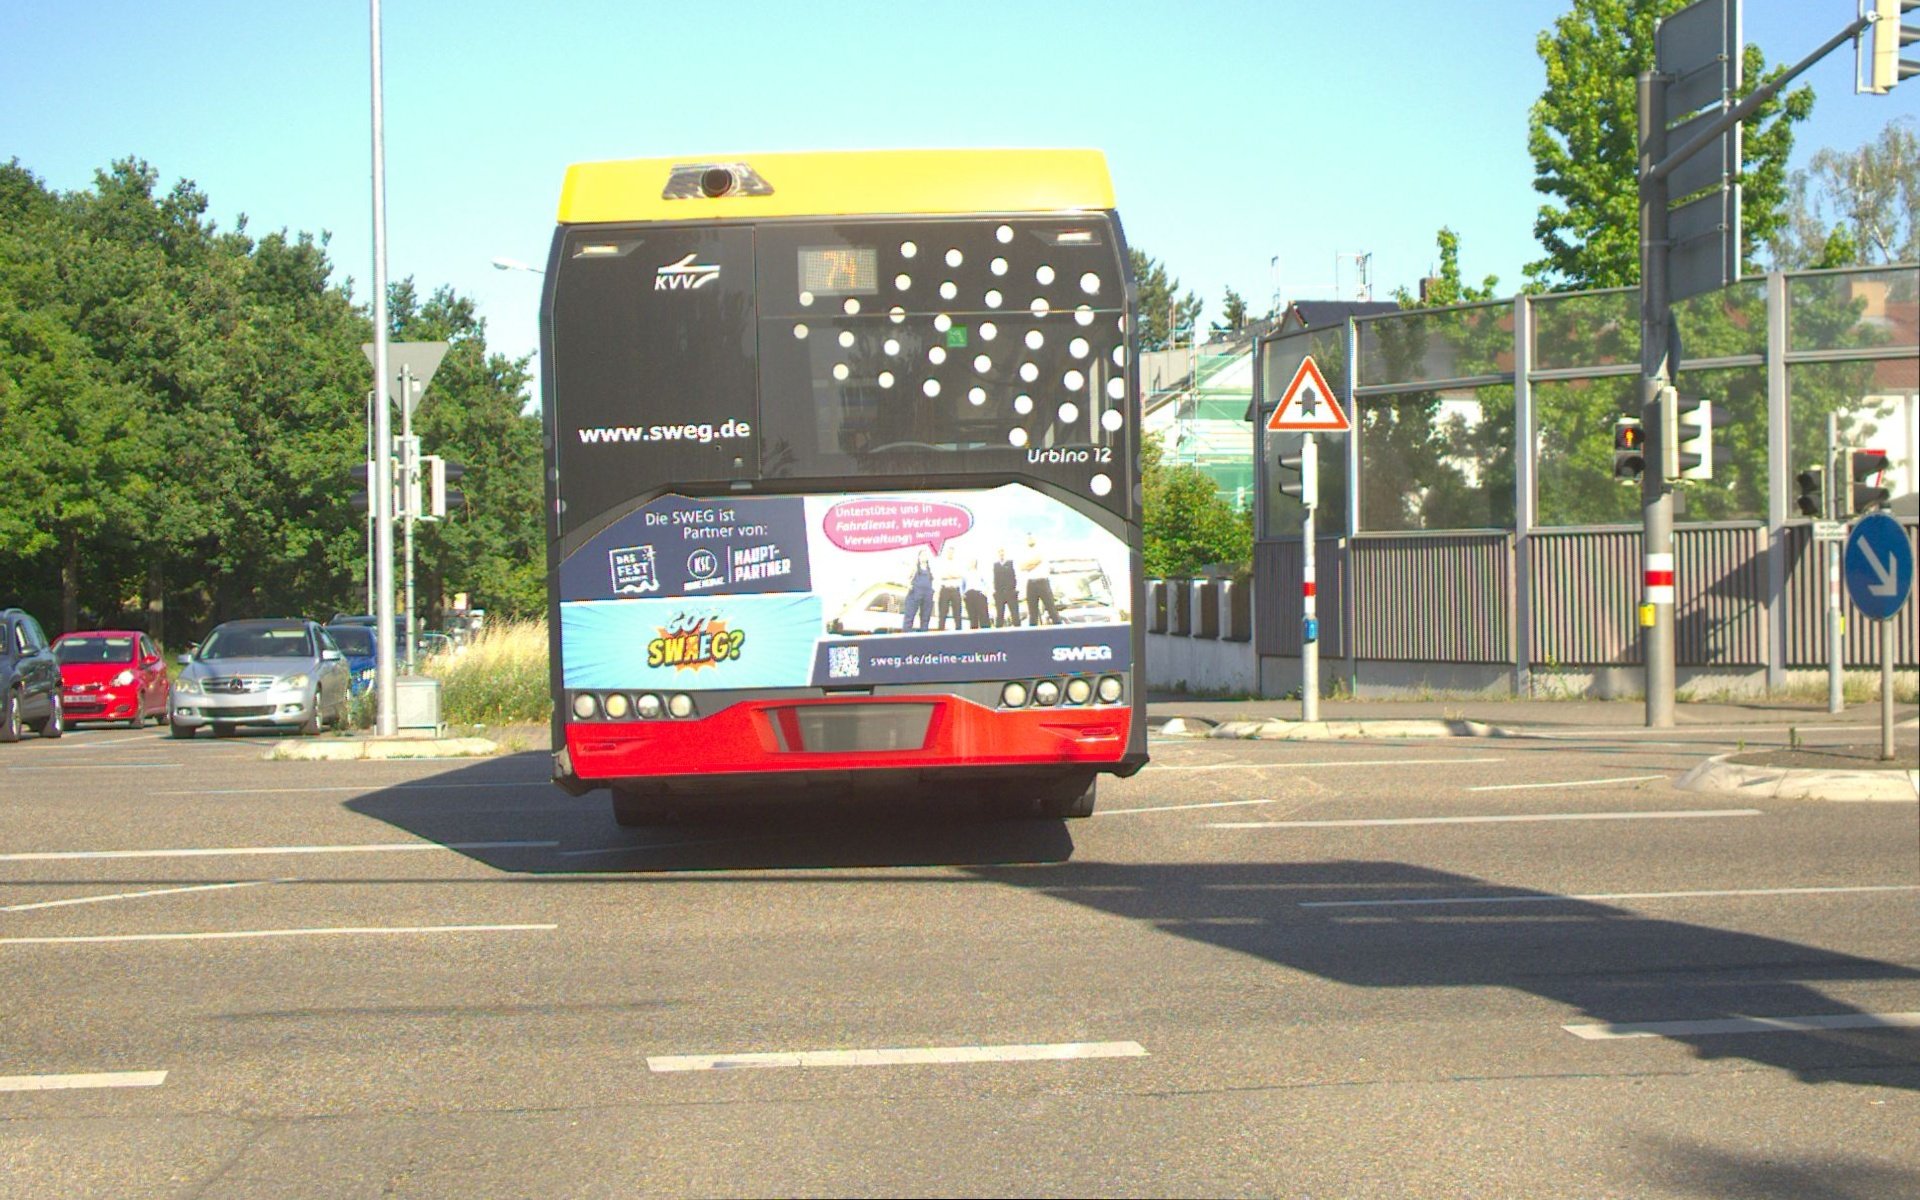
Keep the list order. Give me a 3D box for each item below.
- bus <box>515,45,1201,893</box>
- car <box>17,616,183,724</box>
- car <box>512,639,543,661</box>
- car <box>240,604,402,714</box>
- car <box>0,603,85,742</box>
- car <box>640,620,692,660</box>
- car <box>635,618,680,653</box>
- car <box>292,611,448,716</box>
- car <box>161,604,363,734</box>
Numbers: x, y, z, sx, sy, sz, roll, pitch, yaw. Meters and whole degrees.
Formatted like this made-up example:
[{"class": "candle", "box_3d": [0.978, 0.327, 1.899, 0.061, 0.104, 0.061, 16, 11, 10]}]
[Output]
[{"class": "bus", "box_3d": [-0.679, -0.623, 20.393, 2.757, 3.446, 12.399, -1, 1, -2]}, {"class": "car", "box_3d": [-12.482, 0.989, 50.078, 1.645, 1.478, 3.713, -1, 0, -3]}, {"class": "car", "box_3d": [-30.226, 3.495, 240.242, 1.933, 1.537, 4.001, 0, -1, -9]}, {"class": "car", "box_3d": [-9.059, 0.818, 48.992, 1.746, 1.478, 3.888, -1, 0, -3]}, {"class": "car", "box_3d": [-12.371, 0.887, 42.797, 1.993, 1.638, 4.530, -1, 0, -3]}, {"class": "car", "box_3d": [-12.830, 1.760, 150.068, 1.935, 1.698, 4.001, 0, -1, -9]}, {"class": "car", "box_3d": [-15.187, 1.783, 172.418, 1.933, 1.736, 4.001, 0, -1, -9]}, {"class": "car", "box_3d": [-9.519, 1.000, 55.750, 1.993, 1.611, 4.531, -1, 0, -4]}, {"class": "car", "box_3d": [-8.682, 0.832, 43.091, 1.793, 1.501, 4.530, -1, 0, -3]}]
